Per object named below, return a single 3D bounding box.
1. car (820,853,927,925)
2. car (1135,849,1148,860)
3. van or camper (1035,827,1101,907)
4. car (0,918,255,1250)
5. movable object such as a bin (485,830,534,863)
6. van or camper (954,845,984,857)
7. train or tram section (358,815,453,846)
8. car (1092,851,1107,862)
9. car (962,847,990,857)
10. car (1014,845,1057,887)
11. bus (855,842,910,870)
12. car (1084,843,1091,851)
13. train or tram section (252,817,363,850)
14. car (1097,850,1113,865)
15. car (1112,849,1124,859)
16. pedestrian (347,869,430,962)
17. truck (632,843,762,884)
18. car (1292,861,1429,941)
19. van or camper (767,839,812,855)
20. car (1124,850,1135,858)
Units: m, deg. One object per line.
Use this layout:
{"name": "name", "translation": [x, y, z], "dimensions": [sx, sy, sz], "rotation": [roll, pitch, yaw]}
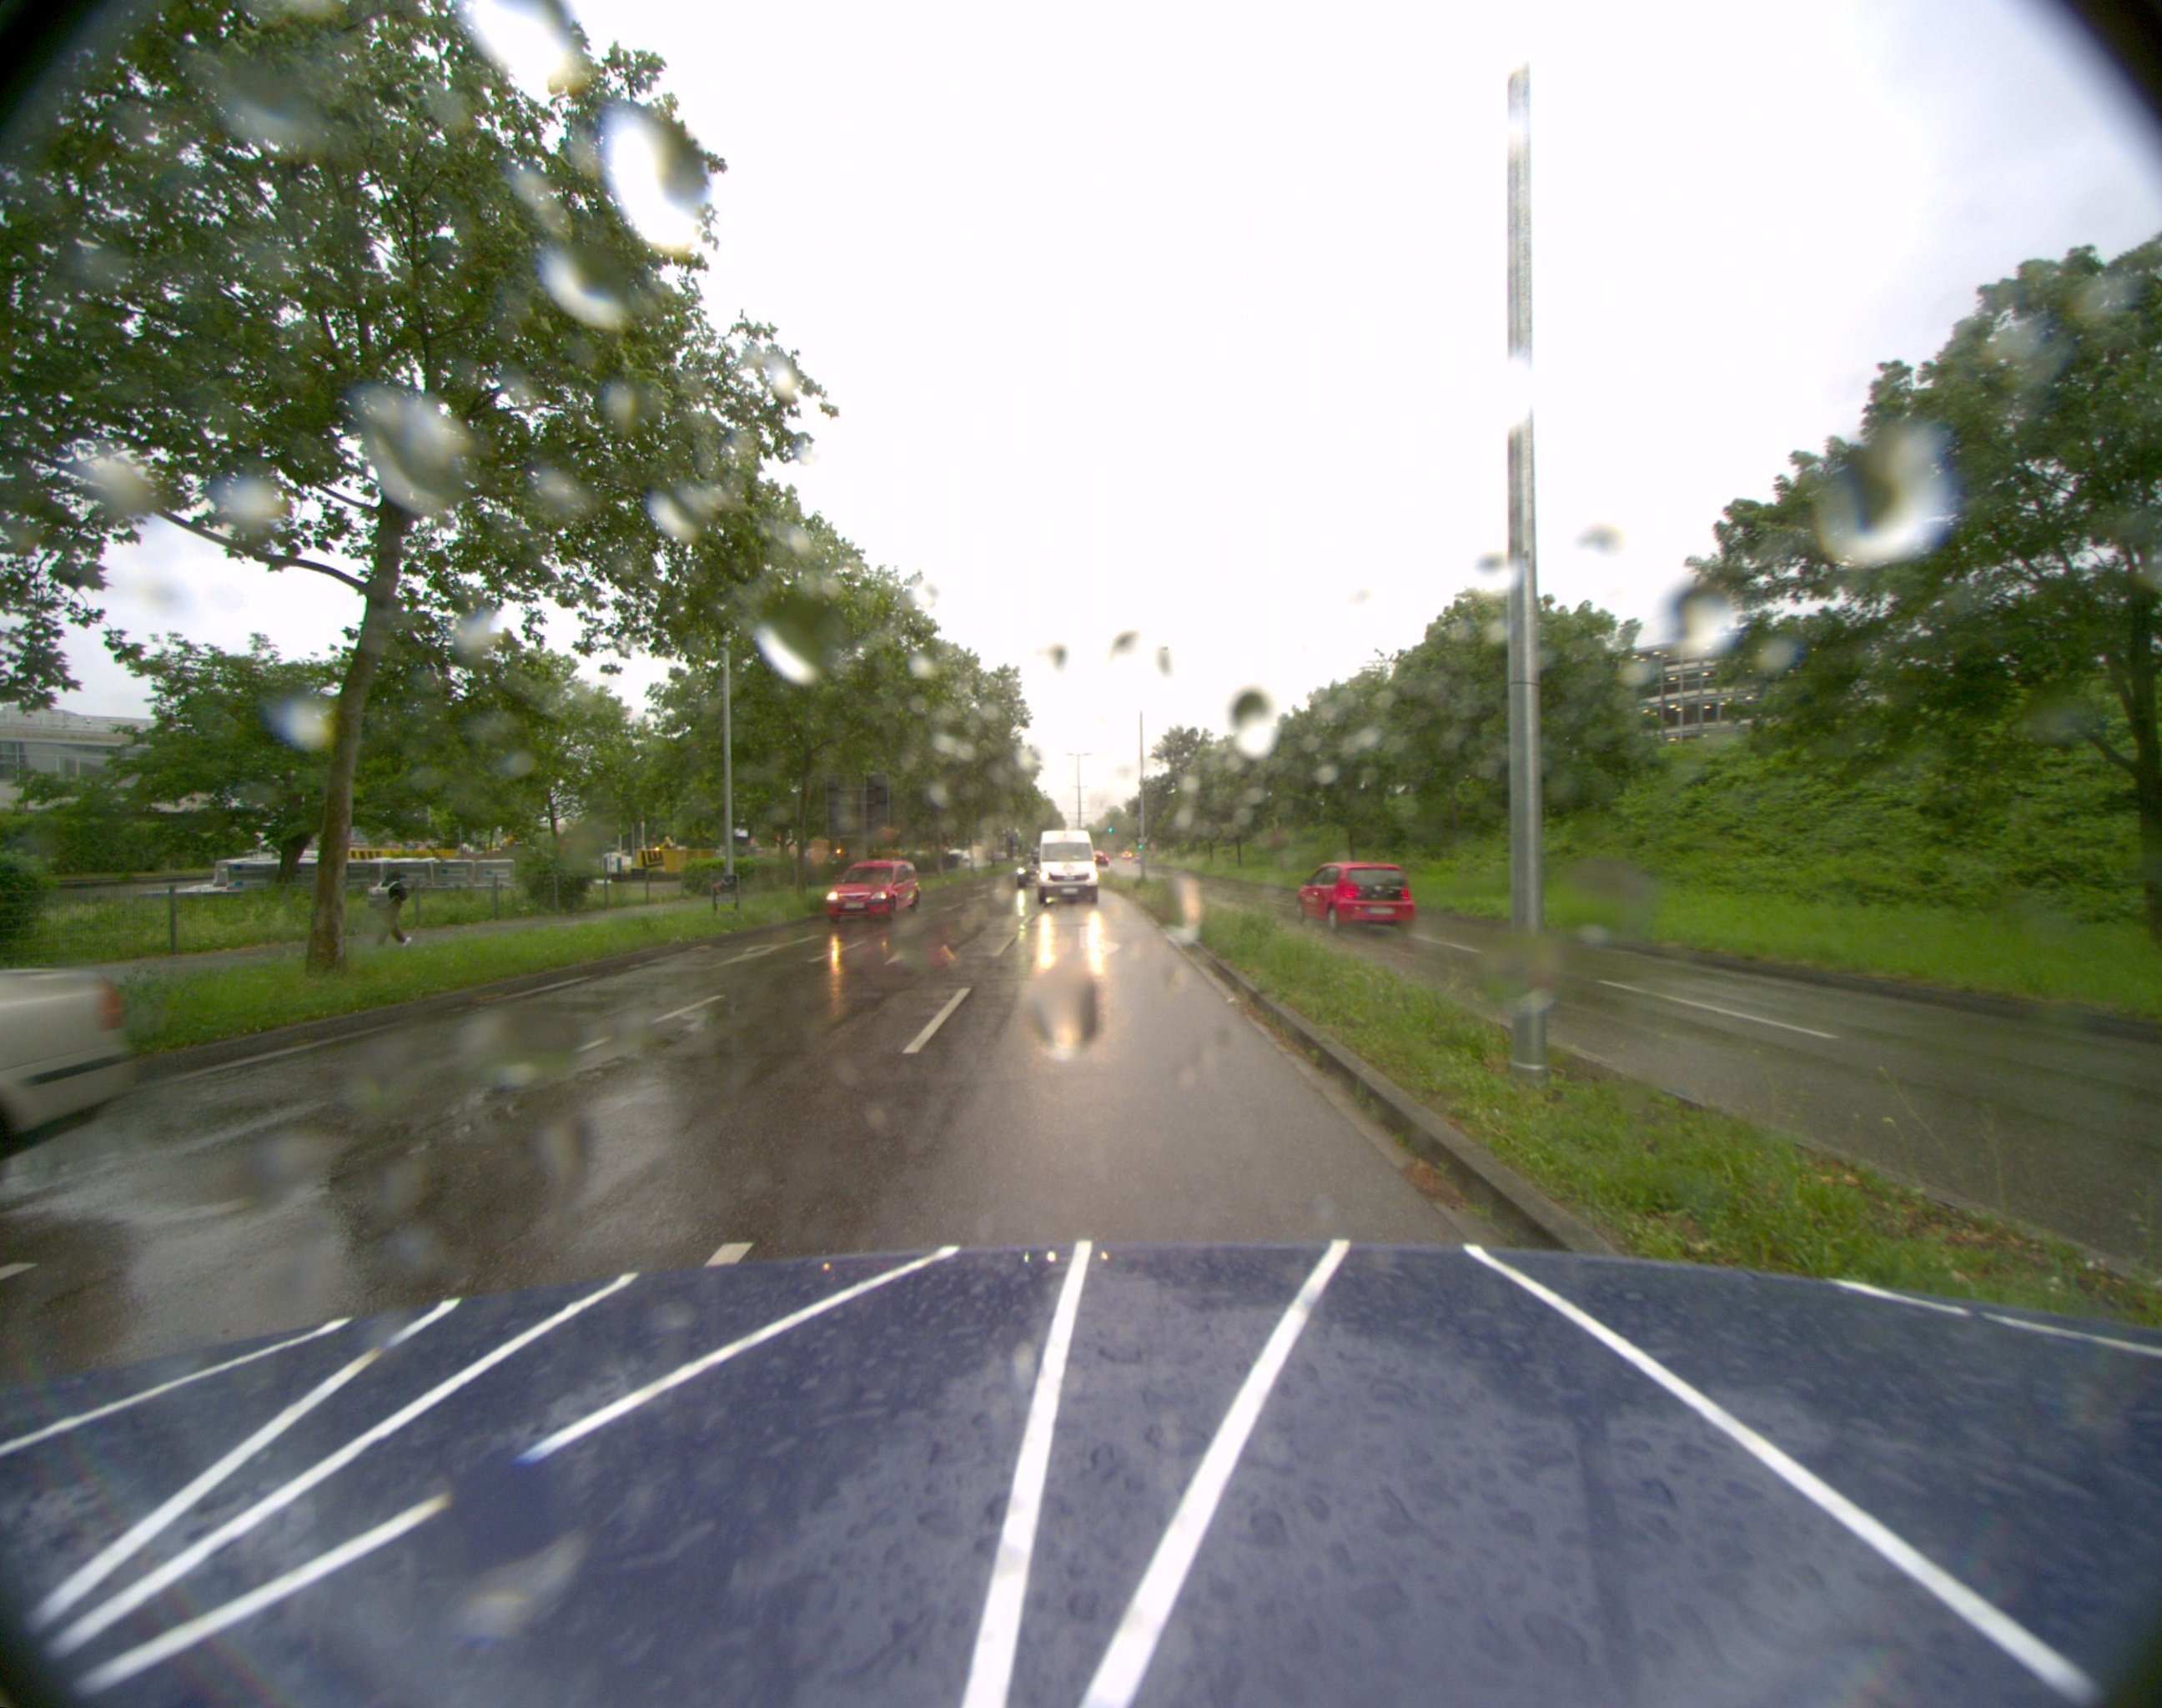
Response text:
{"name": "car", "translation": [-5.719, 0.892, 21.527], "dimensions": [1.699, 1.759, 4.557], "rotation": [-1, 1, 1]}
{"name": "car", "translation": [9.201, 0.069, 115.400], "dimensions": [1.700, 1.608, 3.847], "rotation": [-1, 1, 1]}
{"name": "van or camper", "translation": [-0.390, 0.402, 27.496], "dimensions": [2.100, 2.580, 4.775], "rotation": [-2, 1, 1]}
{"name": "car", "translation": [-5.886, 1.137, 2.346], "dimensions": [1.807, 1.422, 4.386], "rotation": [-1, 1, 1]}
{"name": "movable object such as a bin", "translation": [-63.662, -0.811, 84.636], "dimensions": [3.602, 3.605, 3.326], "rotation": [0, 2, 35]}
{"name": "van or camper", "translation": [-19.623, -0.540, 133.539], "dimensions": [4.918, 2.076, 1.863], "rotation": [-1, 1, -38]}
{"name": "train or tram section", "translation": [-82.182, -2.891, 92.733], "dimensions": [8.385, 3.500, 2.393], "rotation": [-3, 3, -38]}
{"name": "car", "translation": [2.770, 0.350, 117.335], "dimensions": [1.914, 1.565, 4.707], "rotation": [1, 1, -3]}
{"name": "car", "translation": [-18.022, -0.431, 130.606], "dimensions": [4.470, 1.663, 1.863], "rotation": [-1, 1, -38]}
{"name": "car", "translation": [-2.439, 0.590, 41.931], "dimensions": [1.935, 2.120, 4.557], "rotation": [-2, 1, 1]}
{"name": "bus", "translation": [-19.422, 0.192, 74.552], "dimensions": [4.804, 2.632, 2.000], "rotation": [-1, 1, 1]}
{"name": "car", "translation": [1.918, -2.077, 215.246], "dimensions": [1.998, 2.002, 3.999], "rotation": [-2, 2, 1]}
{"name": "train or tram section", "translation": [-88.860, -2.433, 87.514], "dimensions": [8.546, 3.500, 2.393], "rotation": [-3, 3, -38]}
{"name": "car", "translation": [2.936, 0.414, 92.220], "dimensions": [1.828, 1.566, 4.359], "rotation": [2, 2, 2]}
{"name": "car", "translation": [6.644, 0.043, 136.369], "dimensions": [1.724, 1.609, 4.346], "rotation": [1, 2, 7]}
{"name": "pedestrian", "translation": [-13.771, 1.191, 15.149], "dimensions": [0.666, 1.752, 1.075], "rotation": [-1, 1, -5]}
{"name": "truck", "translation": [-33.046, 0.676, 65.655], "dimensions": [9.517, 3.015, 3.073], "rotation": [-3, 3, -35]}
{"name": "car", "translation": [5.955, 0.934, 16.652], "dimensions": [1.720, 1.504, 3.614], "rotation": [1, 0, 1]}
{"name": "van or camper", "translation": [-65.579, -1.622, 171.113], "dimensions": [8.994, 3.140, 2.979], "rotation": [-3, 3, -35]}
{"name": "car", "translation": [9.146, 0.047, 144.677], "dimensions": [1.840, 1.493, 4.439], "rotation": [1, 0, 1]}
